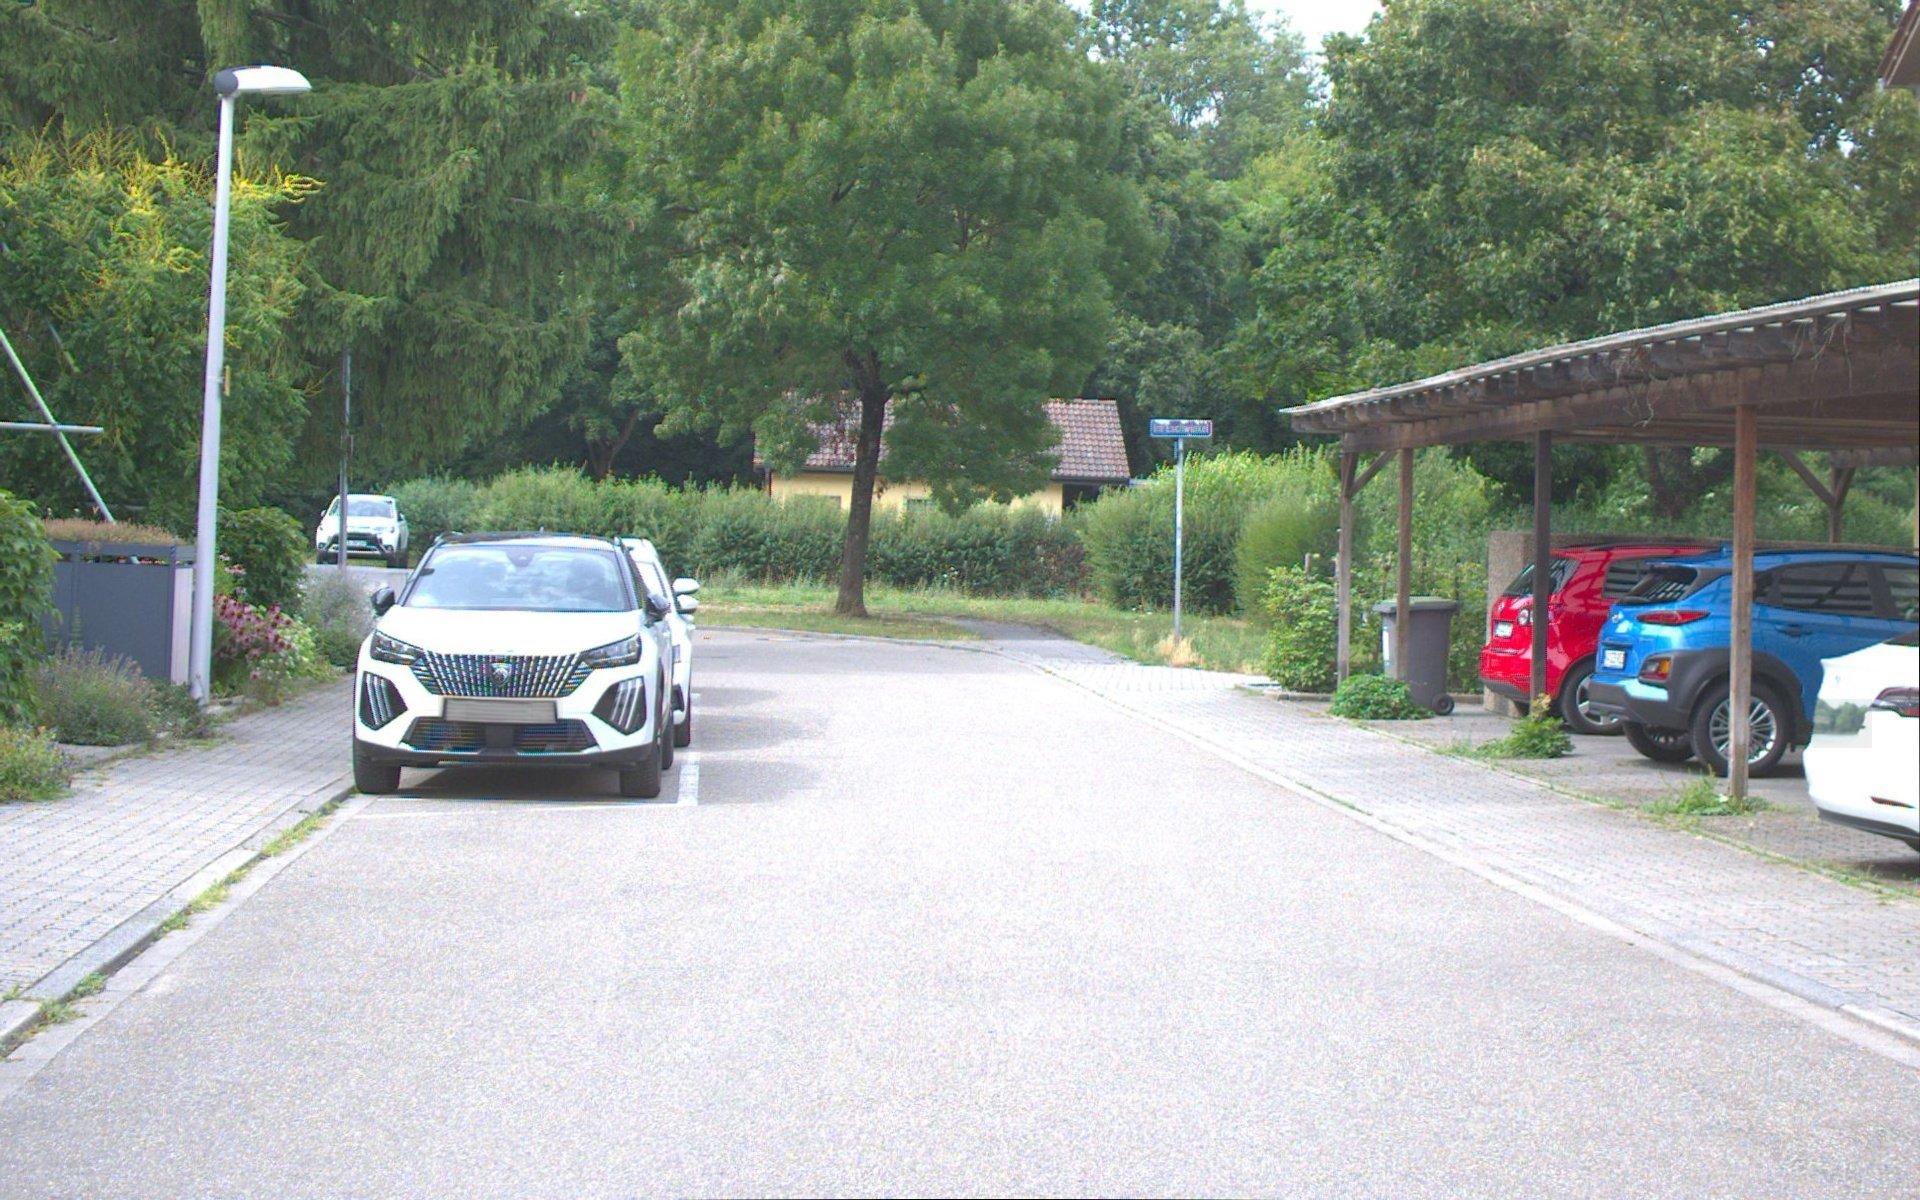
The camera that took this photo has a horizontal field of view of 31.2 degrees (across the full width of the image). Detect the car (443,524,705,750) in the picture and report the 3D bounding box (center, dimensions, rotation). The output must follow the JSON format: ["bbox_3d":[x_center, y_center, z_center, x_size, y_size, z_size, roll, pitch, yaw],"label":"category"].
[{"bbox_3d":[-2.914,0.213,26.793,1.810,1.556,4.849,1,1,-4],"label":"car"}]

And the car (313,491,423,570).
[{"bbox_3d":[-13.307,-1.578,77.518,1.937,1.654,4.341,2,1,-4],"label":"car"}]

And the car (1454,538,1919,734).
[{"bbox_3d":[6.387,0.290,29.240,3.956,1.535,1.840,1,1,-6],"label":"car"}]

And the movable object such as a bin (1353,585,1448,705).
[{"bbox_3d":[4.022,0.404,31.429,0.699,1.068,0.712,1,1,-7],"label":"movable object such as a bin"}]

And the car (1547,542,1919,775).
[{"bbox_3d":[6.420,0.405,24.311,4.045,1.517,1.951,1,1,-6],"label":"car"}]

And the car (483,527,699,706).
[{"bbox_3d":[-3.393,0.100,32.234,1.791,1.526,4.141,1,1,-3],"label":"car"}]

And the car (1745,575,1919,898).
[{"bbox_3d":[6.337,0.658,16.754,4.449,1.428,2.028,1,1,-5],"label":"car"}]

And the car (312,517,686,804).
[{"bbox_3d":[-2.742,0.284,21.394,1.933,1.551,4.635,1,1,-3],"label":"car"}]
